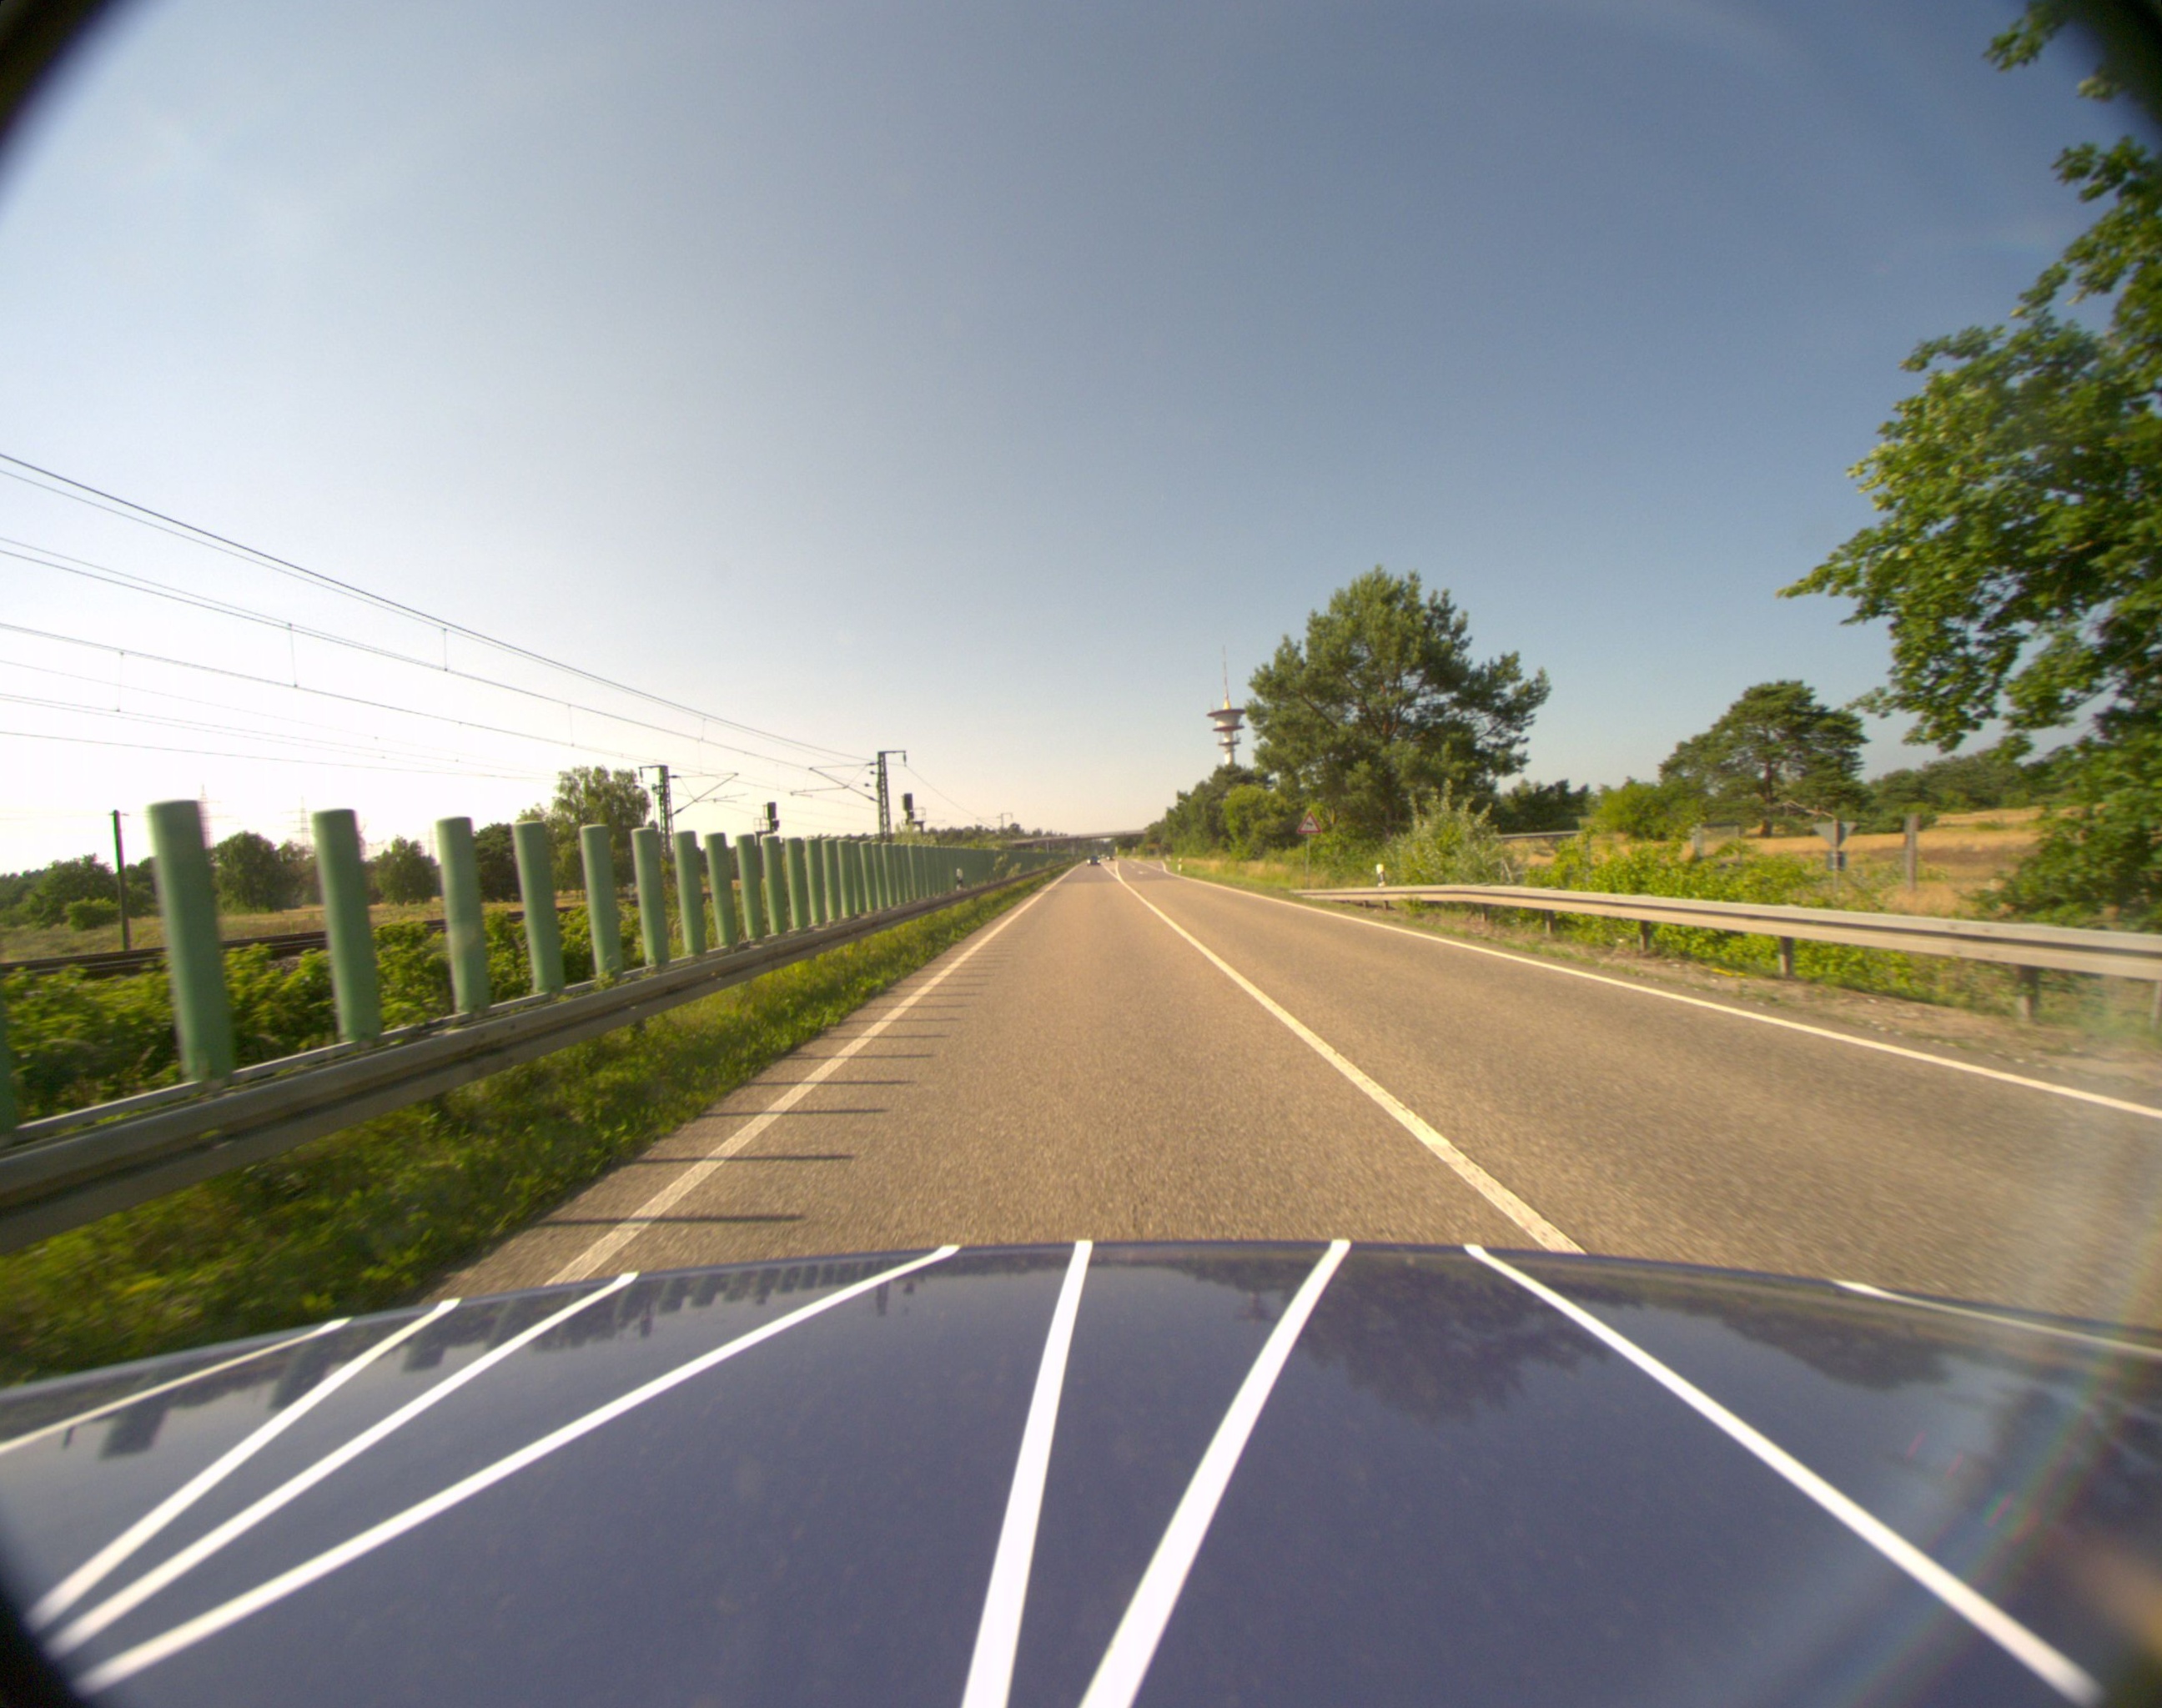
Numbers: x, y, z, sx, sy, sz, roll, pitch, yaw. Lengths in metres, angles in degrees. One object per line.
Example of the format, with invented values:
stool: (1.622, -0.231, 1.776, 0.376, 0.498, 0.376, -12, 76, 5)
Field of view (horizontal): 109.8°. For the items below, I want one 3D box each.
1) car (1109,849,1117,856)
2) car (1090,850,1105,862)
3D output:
car: (7.751, -0.418, 184.275, 1.998, 1.533, 4.332, -1, 0, 3)
car: (2.308, 0.275, 105.930, 1.868, 1.533, 4.076, -2, 0, 3)
